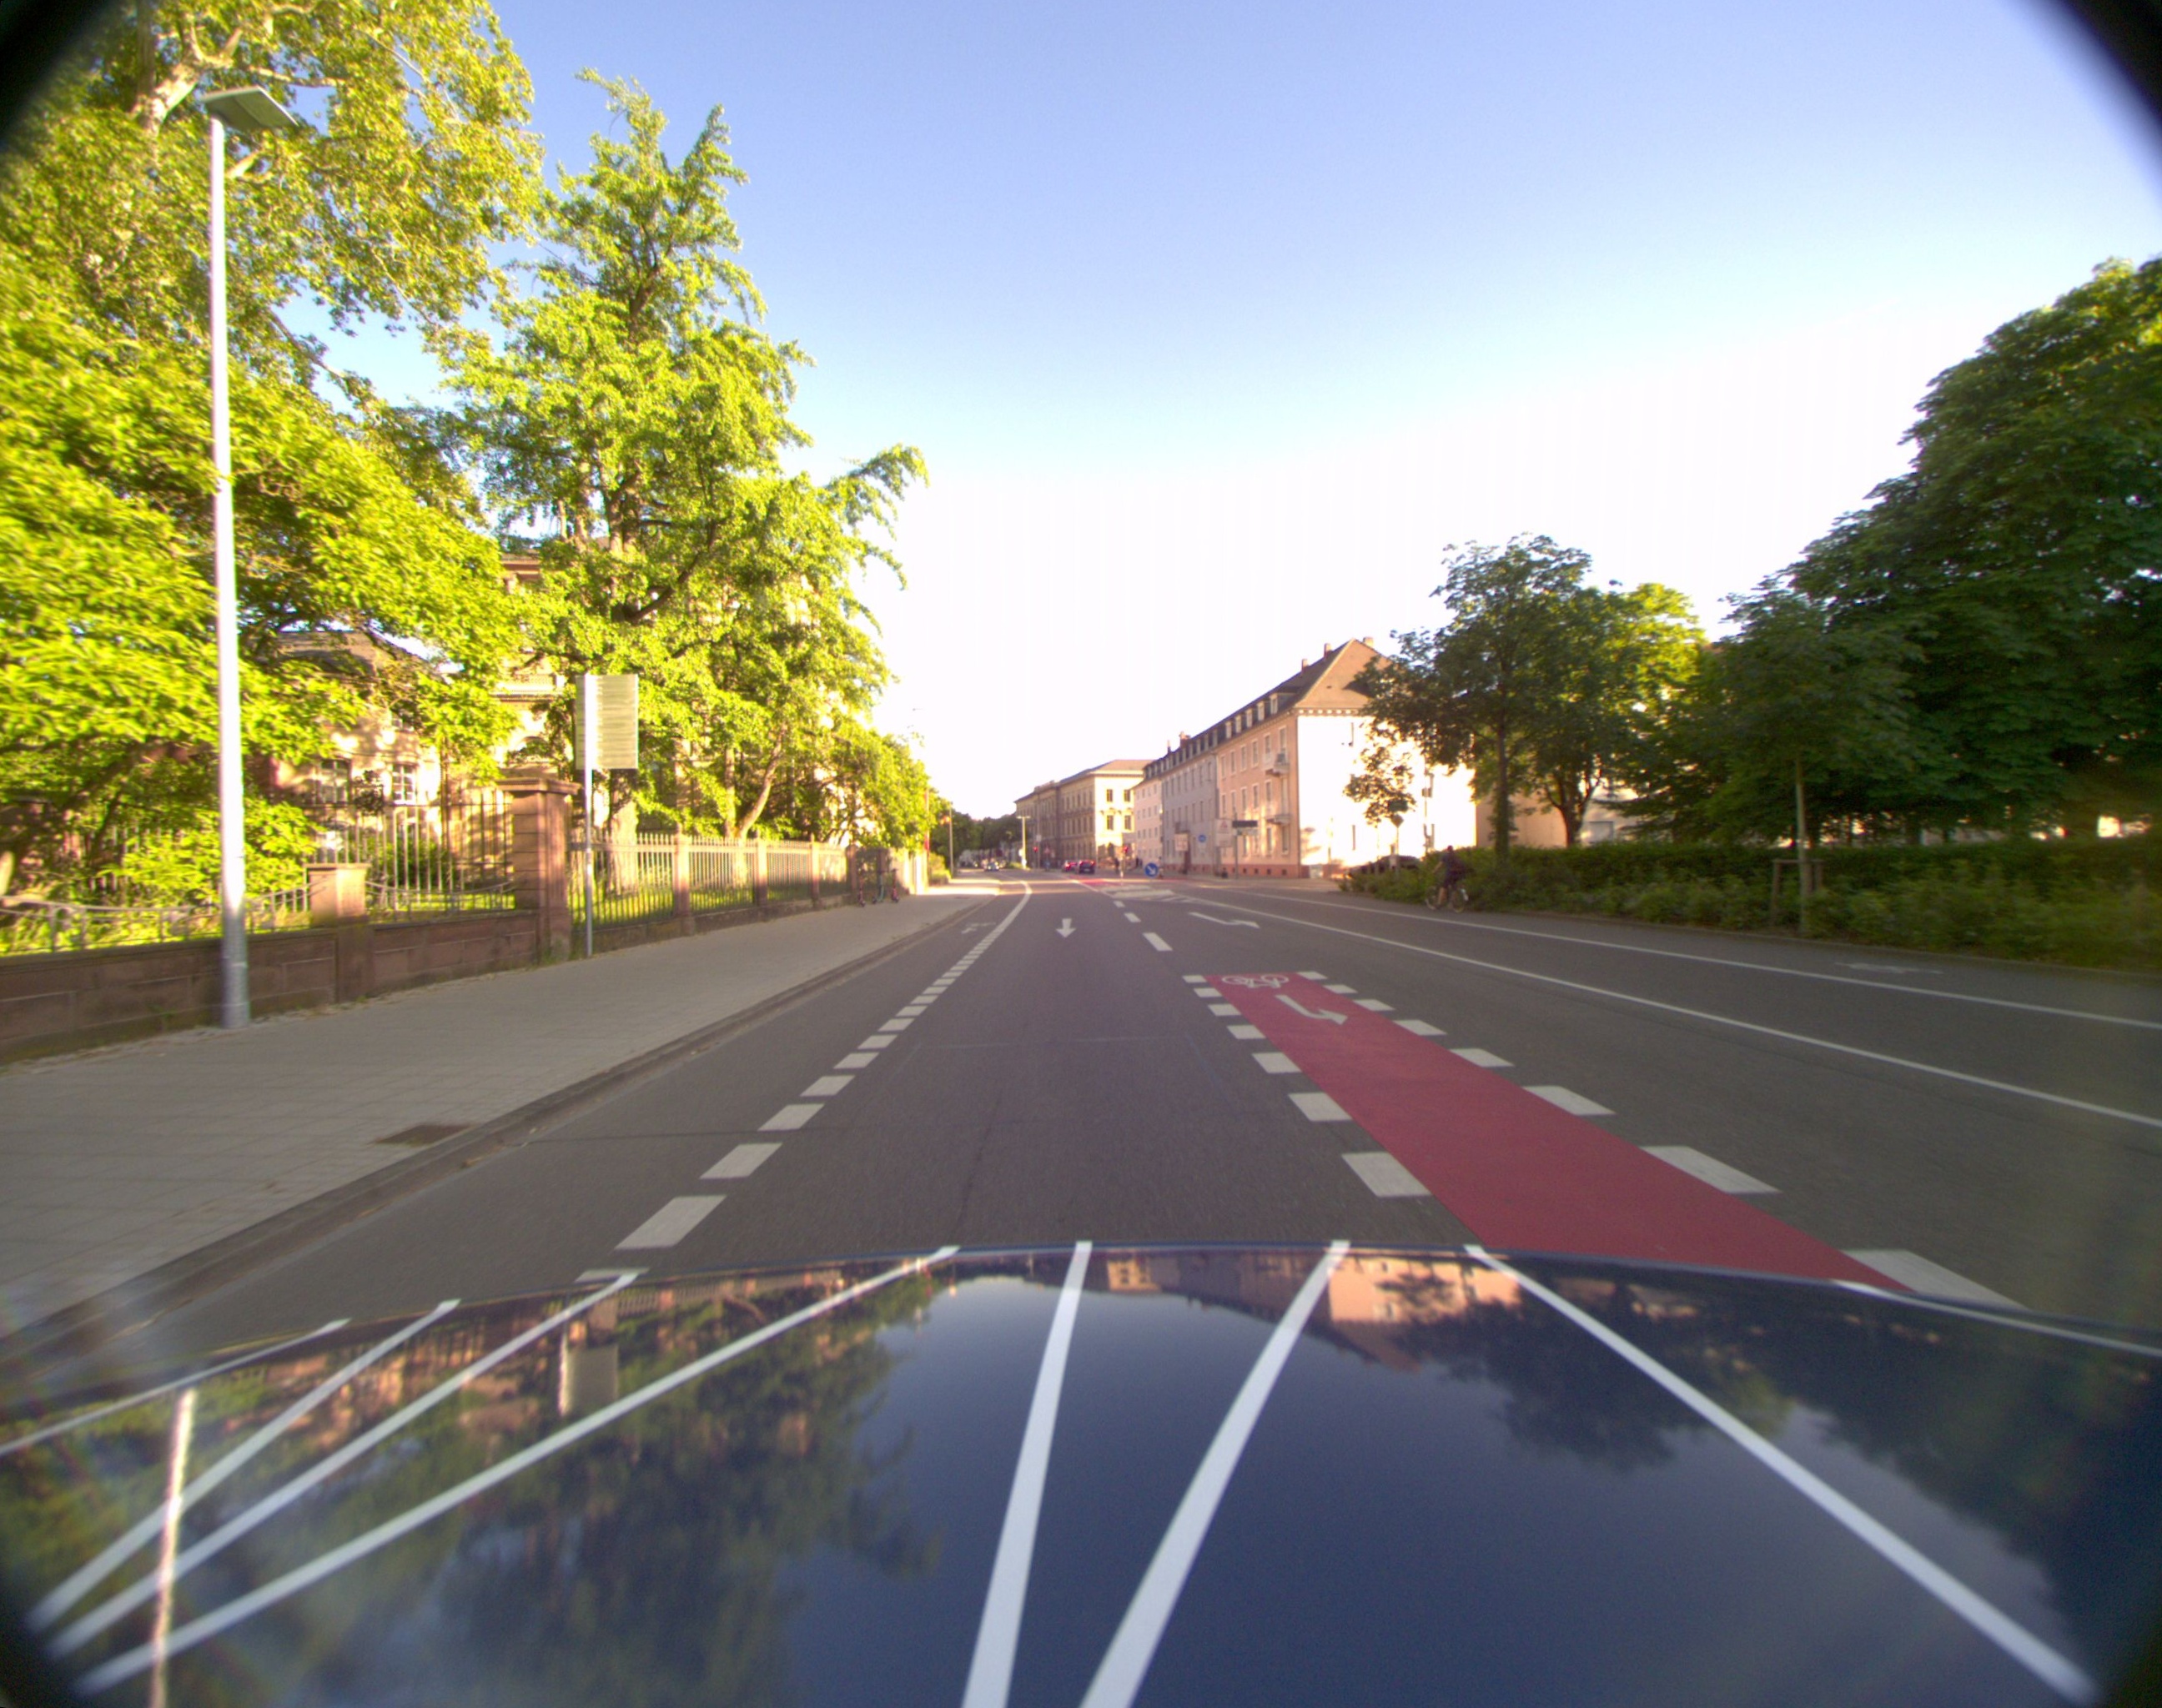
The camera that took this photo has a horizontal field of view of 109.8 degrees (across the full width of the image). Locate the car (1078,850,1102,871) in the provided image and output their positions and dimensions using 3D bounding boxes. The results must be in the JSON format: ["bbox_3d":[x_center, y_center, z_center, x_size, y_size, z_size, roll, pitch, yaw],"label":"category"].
[{"bbox_3d":[0.821,0.630,74.446,1.999,2.002,3.998,-1,0,-5],"label":"car"}]

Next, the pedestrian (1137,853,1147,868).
[{"bbox_3d":[7.749,0.820,96.661,0.949,1.894,1.062,-2,1,-6],"label":"pedestrian"}]

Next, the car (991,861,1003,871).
[{"bbox_3d":[-12.651,1.789,114.547,1.710,1.397,4.262,-1,0,-6],"label":"car"}]

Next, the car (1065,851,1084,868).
[{"bbox_3d":[-0.813,0.650,89.742,1.999,2.002,3.998,-1,0,-4],"label":"car"}]

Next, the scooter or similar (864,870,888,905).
[{"bbox_3d":[-7.200,1.160,26.748,0.576,1.177,1.487,-1,0,-6],"label":"scooter or similar"}]

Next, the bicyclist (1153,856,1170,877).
[{"bbox_3d":[5.764,0.859,54.513,1.026,1.481,0.870,-1,0,-8],"label":"bicyclist"}]

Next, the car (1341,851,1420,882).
[{"bbox_3d":[18.453,0.745,46.895,4.000,1.652,1.998,-2,1,-8],"label":"car"}]

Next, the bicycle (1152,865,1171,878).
[{"bbox_3d":[5.774,1.236,54.480,0.663,0.907,2.861,-1,0,-8],"label":"bicycle"}]

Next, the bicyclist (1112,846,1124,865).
[{"bbox_3d":[3.819,0.136,78.859,0.956,2.002,1.307,-1,0,-8],"label":"bicyclist"}]

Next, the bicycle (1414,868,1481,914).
[{"bbox_3d":[10.063,0.994,20.975,0.697,1.152,2.245,0,0,-2],"label":"bicycle"}]

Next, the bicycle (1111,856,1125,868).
[{"bbox_3d":[3.823,0.775,78.969,0.956,1.216,2.777,-1,0,-8],"label":"bicycle"}]

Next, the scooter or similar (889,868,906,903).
[{"bbox_3d":[-6.709,1.142,27.822,0.517,1.233,1.521,-1,0,-10],"label":"scooter or similar"}]

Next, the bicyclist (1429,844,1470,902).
[{"bbox_3d":[10.072,0.505,20.769,0.691,1.553,0.838,0,0,-2],"label":"bicyclist"}]

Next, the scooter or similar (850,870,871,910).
[{"bbox_3d":[-7.215,1.151,24.895,0.576,1.246,1.486,-1,0,-14],"label":"scooter or similar"}]
